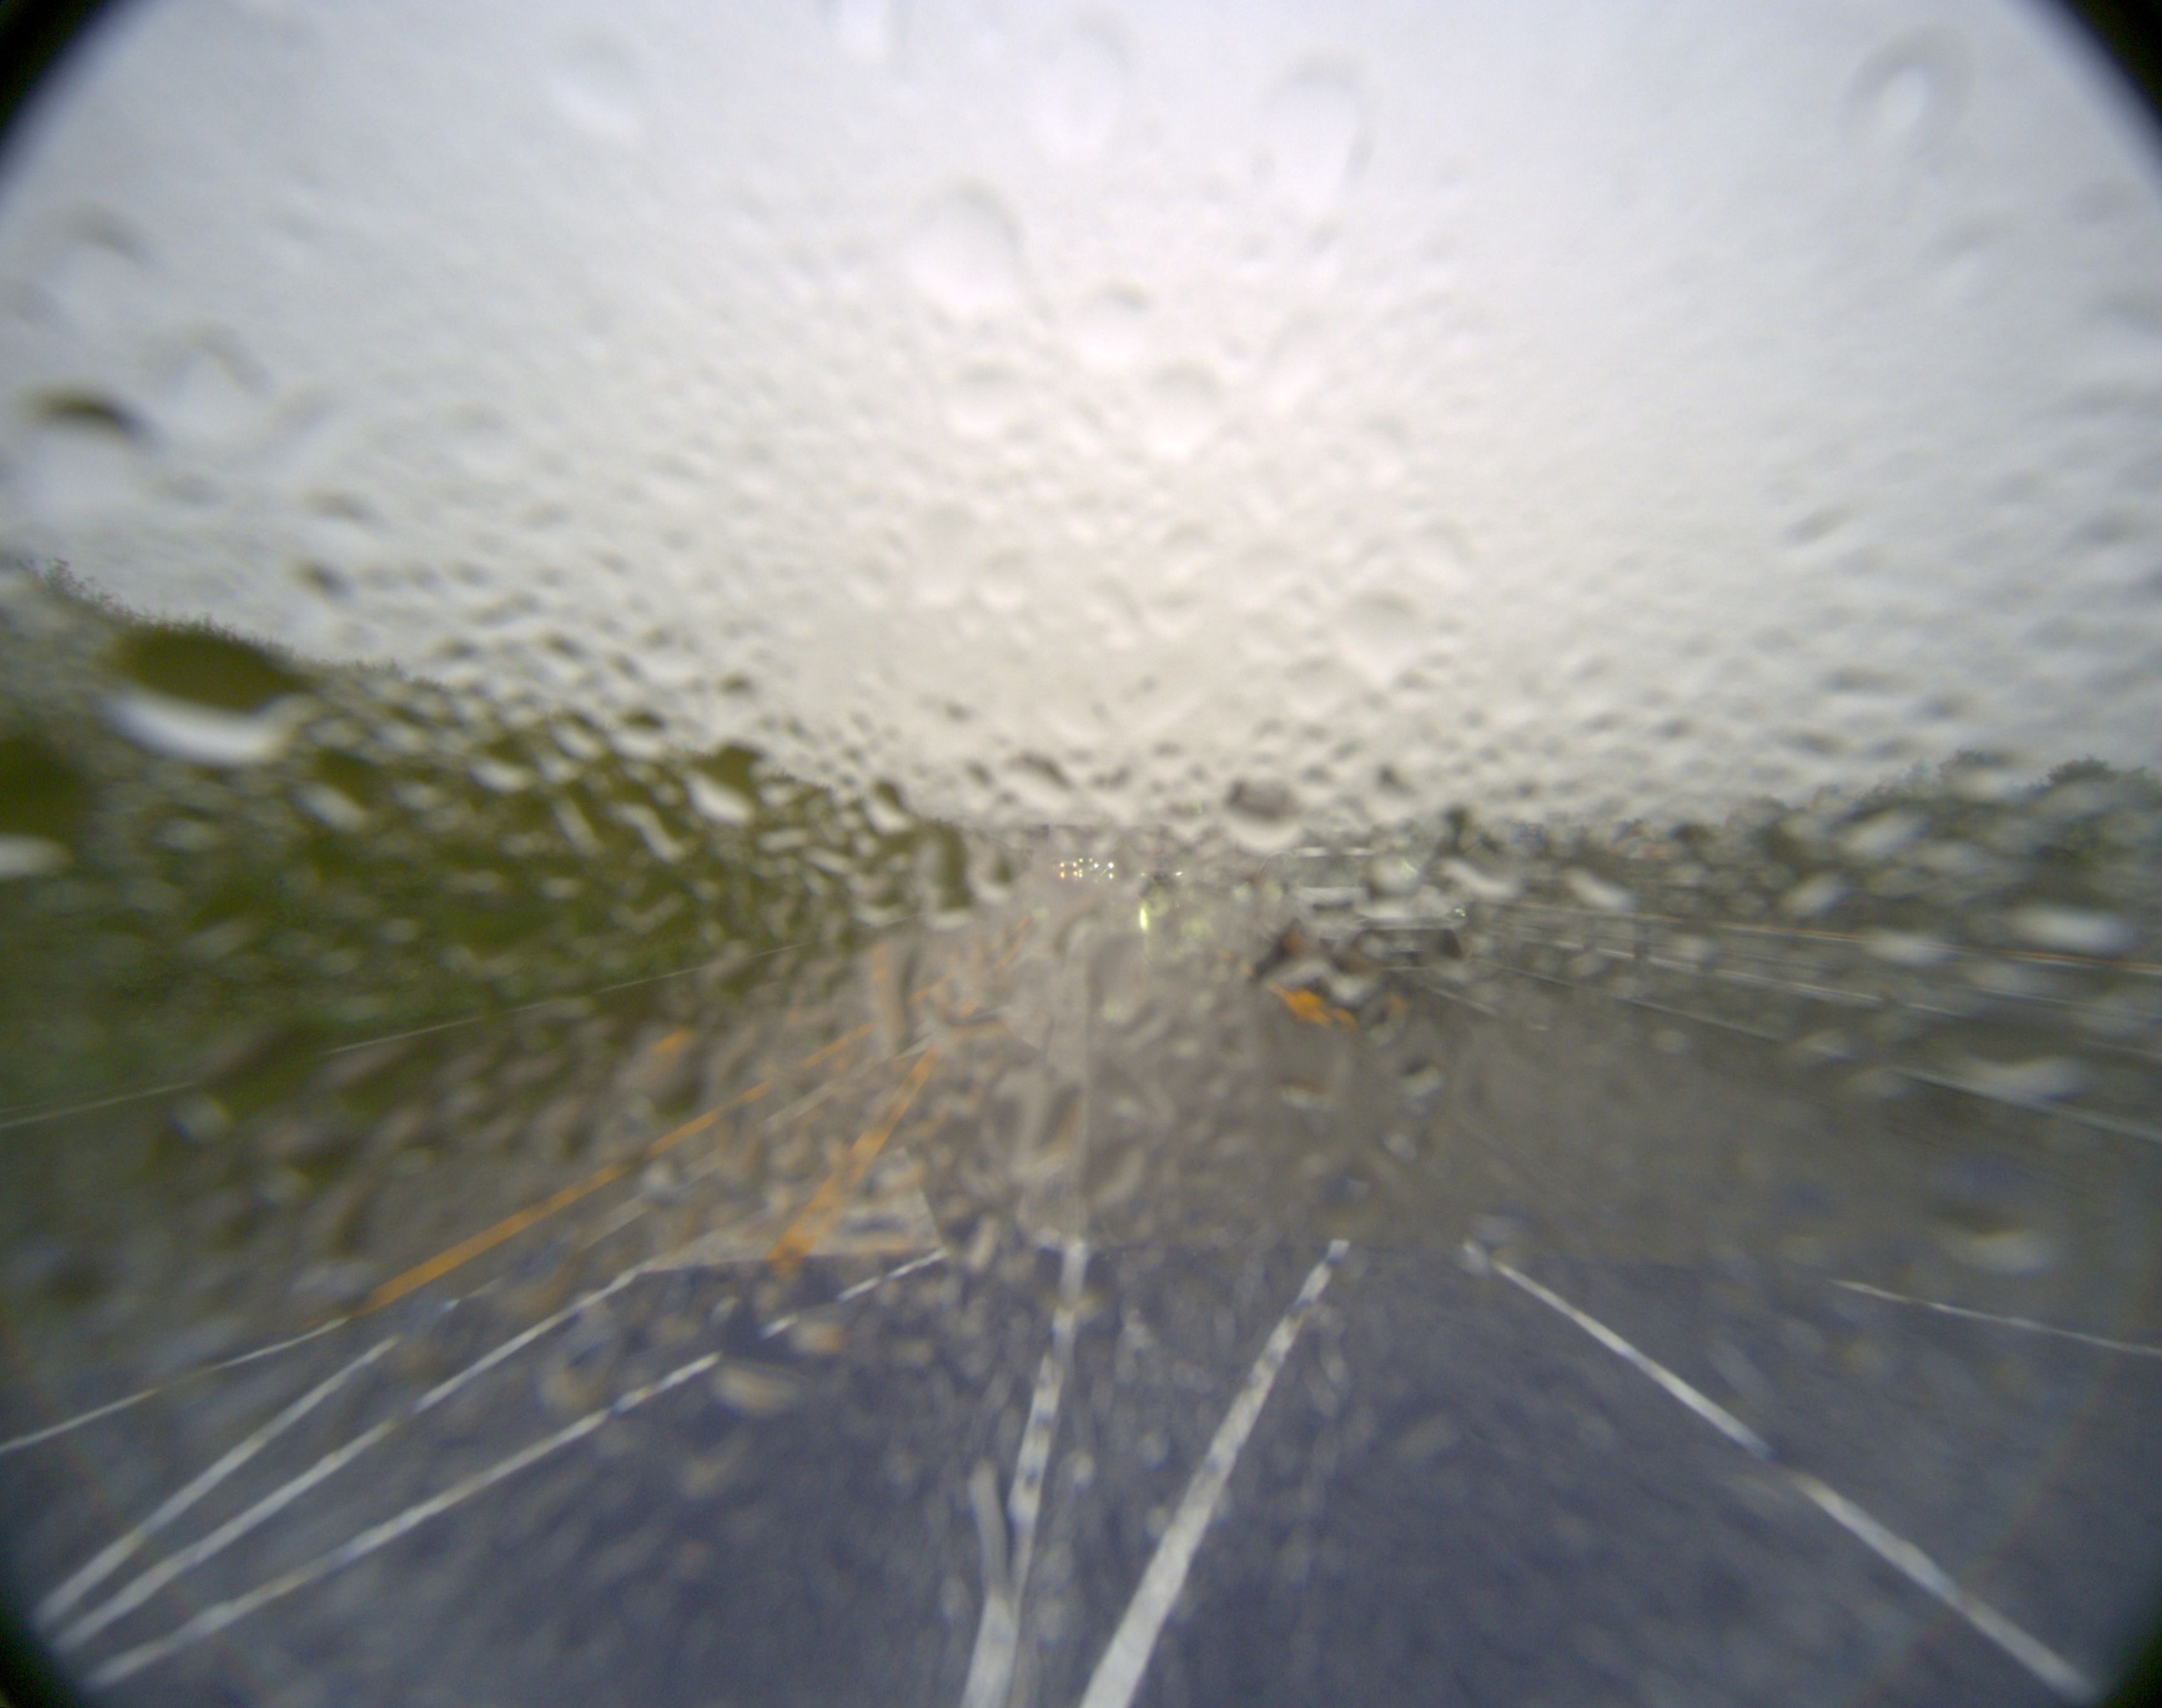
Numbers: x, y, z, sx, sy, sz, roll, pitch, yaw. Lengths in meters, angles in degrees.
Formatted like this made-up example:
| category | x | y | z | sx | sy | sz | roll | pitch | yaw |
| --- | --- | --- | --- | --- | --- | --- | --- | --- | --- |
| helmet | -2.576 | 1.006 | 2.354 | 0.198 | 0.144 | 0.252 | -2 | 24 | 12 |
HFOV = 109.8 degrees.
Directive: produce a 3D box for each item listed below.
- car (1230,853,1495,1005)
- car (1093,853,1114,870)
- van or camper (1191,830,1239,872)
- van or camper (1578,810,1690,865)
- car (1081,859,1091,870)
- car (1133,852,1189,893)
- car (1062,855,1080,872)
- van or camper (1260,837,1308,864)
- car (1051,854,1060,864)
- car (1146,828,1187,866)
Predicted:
| category | x | y | z | sx | sy | sz | roll | pitch | yaw |
| --- | --- | --- | --- | --- | --- | --- | --- | --- | --- |
| car | 3.388 | 0.774 | 10.336 | 1.932 | 1.542 | 5.007 | -1 | 0 | 3 |
| car | 2.106 | 0.669 | 72.623 | 1.792 | 1.480 | 4.000 | -2 | 0 | 0 |
| van or camper | 9.989 | -0.245 | 57.188 | 2.491 | 2.901 | 6.222 | -2 | 0 | 0 |
| van or camper | 47.362 | -1.341 | 65.487 | 3.375 | 4.299 | 8.506 | -2 | 0 | 0 |
| car | 0.798 | 1.564 | 116.164 | 1.589 | 1.528 | 3.831 | 0 | 0 | 0 |
| car | 3.437 | 0.747 | 33.379 | 2.069 | 1.618 | 5.196 | -1 | 0 | 2 |
| car | -1.077 | 1.045 | 85.261 | 1.881 | 1.772 | 4.000 | 0 | 0 | 1 |
| van or camper | 27.246 | -0.490 | 102.219 | 5.421 | 3.325 | 3.377 | -2 | 1 | -2 |
| car | -4.687 | 0.950 | 138.175 | 1.674 | 1.804 | 3.999 | 0 | 0 | -2 |
| car | 9.158 | -0.736 | 82.260 | 3.305 | 3.718 | 9.400 | -2 | 0 | 0 |
